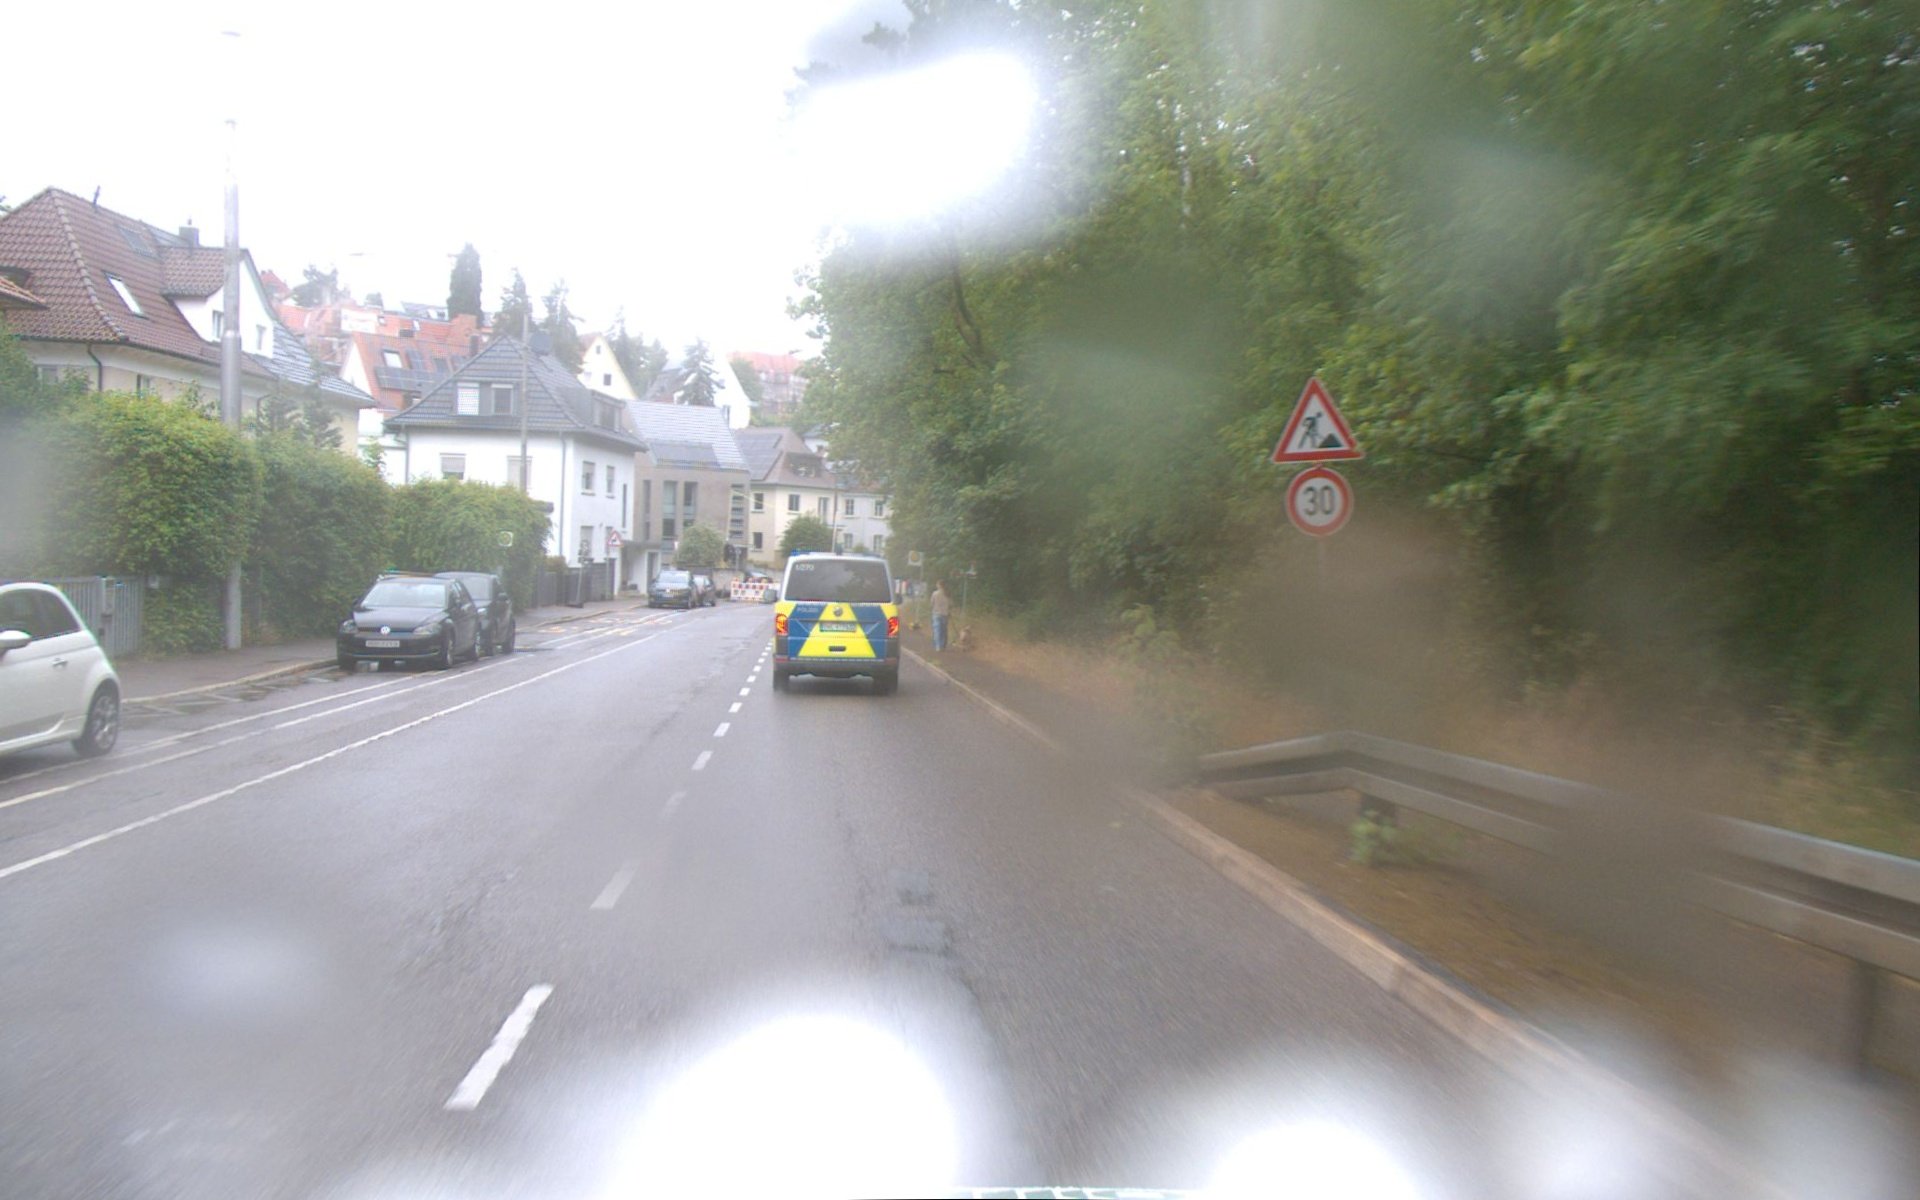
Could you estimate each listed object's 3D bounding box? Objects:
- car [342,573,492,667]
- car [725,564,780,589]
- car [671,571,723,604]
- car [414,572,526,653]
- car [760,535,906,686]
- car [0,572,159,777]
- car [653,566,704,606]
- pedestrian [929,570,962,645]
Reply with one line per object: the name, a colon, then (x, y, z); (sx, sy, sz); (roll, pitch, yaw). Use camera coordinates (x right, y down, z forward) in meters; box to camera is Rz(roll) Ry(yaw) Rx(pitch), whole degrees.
car: (-9.103, 0.279, 28.029); (1.656, 1.443, 4.209); (0, 1, -8)
car: (-14.470, -1.634, 115.219); (1.824, 1.468, 3.939); (2, 2, -43)
car: (-12.605, -0.629, 79.378); (1.583, 1.465, 4.232); (2, 1, 2)
car: (-9.482, 0.214, 32.191); (1.489, 1.479, 3.027); (0, 1, -5)
car: (-1.831, 0.165, 25.173); (1.953, 2.049, 4.400); (1, -1, -2)
car: (-7.980, 0.535, 12.896); (1.664, 1.493, 3.710); (2, 0, -1)
car: (-12.602, -0.656, 74.222); (1.719, 1.687, 4.402); (1, 1, -3)
pedestrian: (-0.331, 0.167, 37.272); (0.629, 1.639, 0.669); (2, -1, -6)
